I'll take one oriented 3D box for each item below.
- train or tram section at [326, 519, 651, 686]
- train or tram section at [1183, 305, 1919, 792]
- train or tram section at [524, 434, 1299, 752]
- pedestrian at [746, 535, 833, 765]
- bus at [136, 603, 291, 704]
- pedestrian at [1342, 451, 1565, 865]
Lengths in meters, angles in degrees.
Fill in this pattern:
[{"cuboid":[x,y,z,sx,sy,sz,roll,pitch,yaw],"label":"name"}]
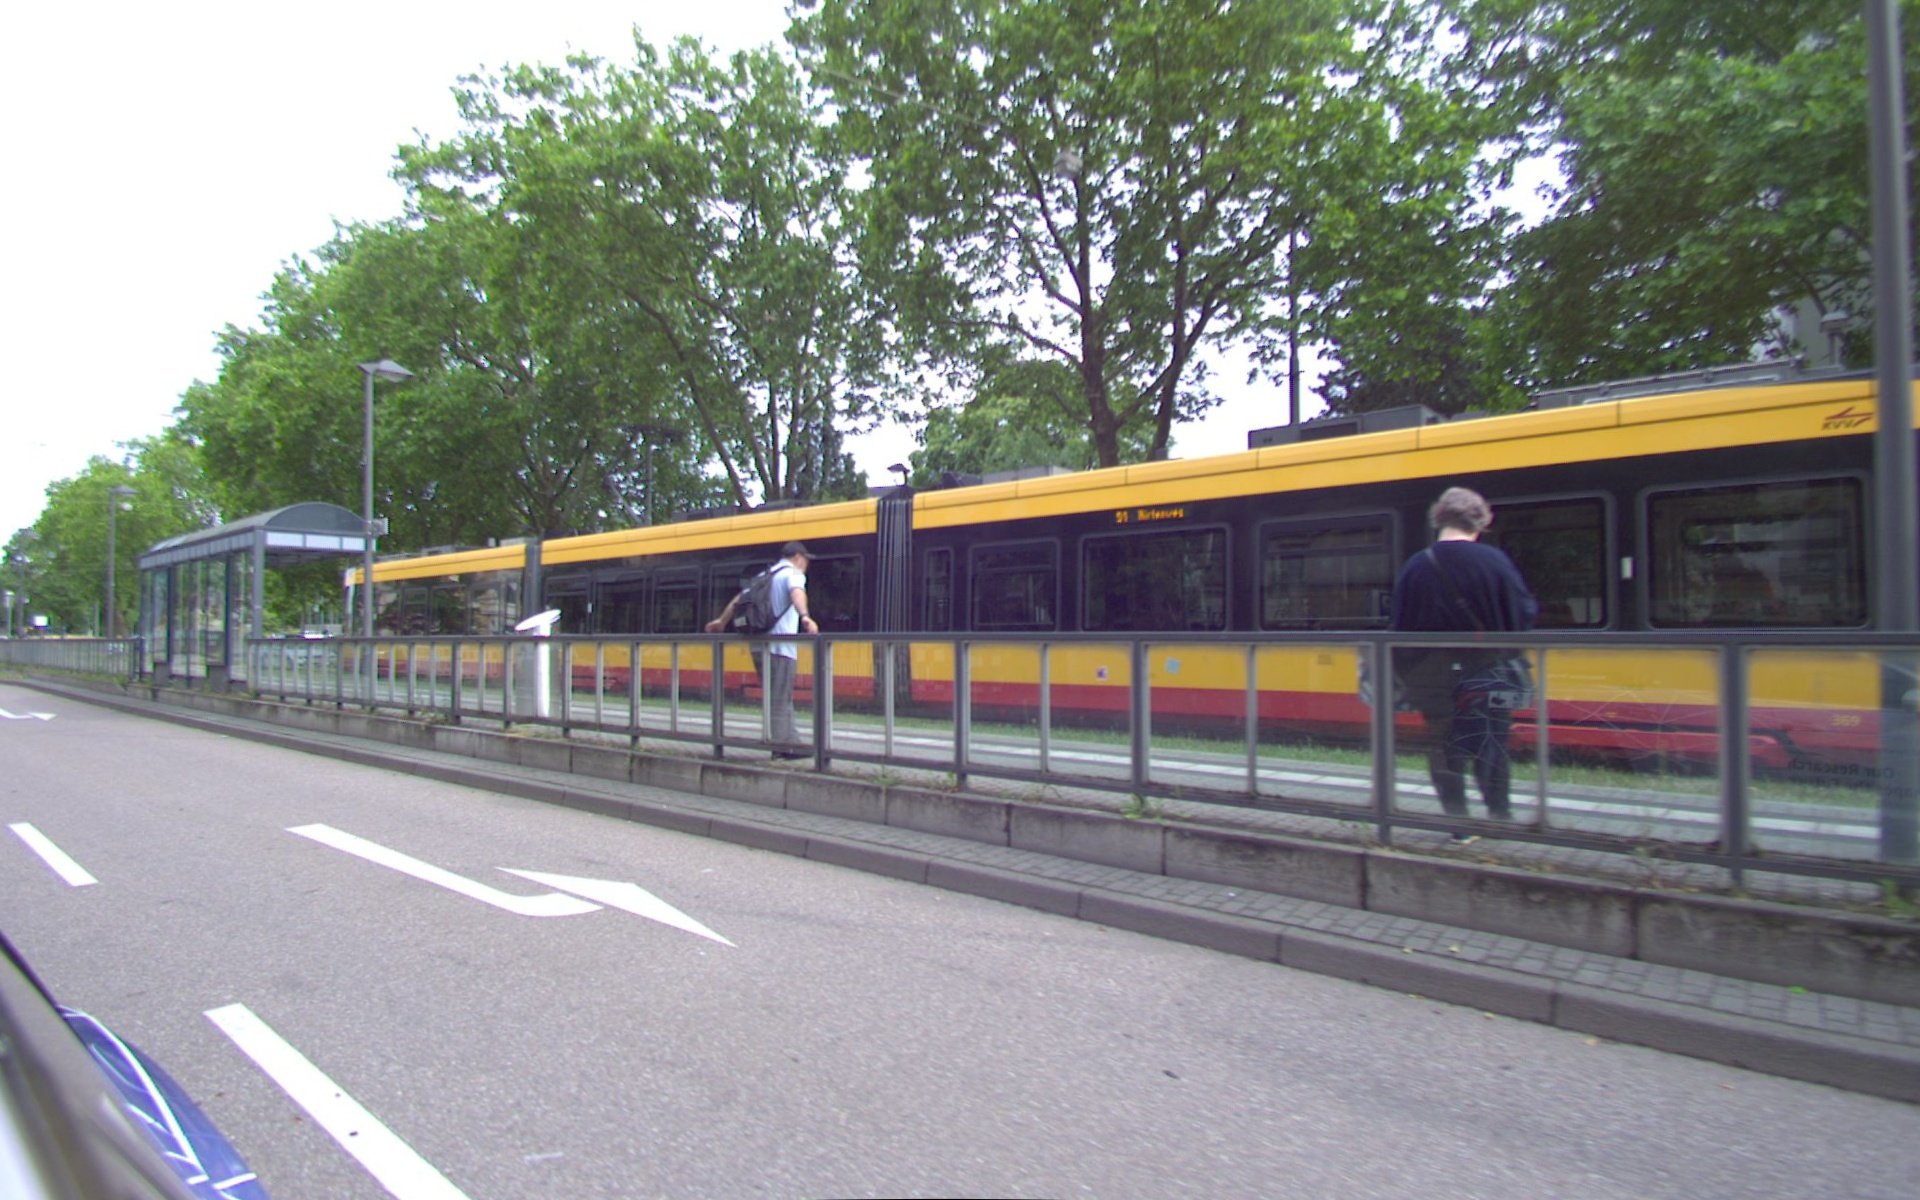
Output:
[{"cuboid":[-13.060,0.204,26.995,12.533,3.589,3.060,-2,-1,41],"label":"train or tram section"},{"cuboid":[9.271,-0.424,7.442,15.286,3.558,3.028,-2,-1,41],"label":"train or tram section"},{"cuboid":[-2.399,0.107,17.656,15.763,3.558,3.028,-2,-1,41],"label":"train or tram section"},{"cuboid":[-1.277,0.361,7.575,0.392,1.645,0.474,-2,-1,42],"label":"pedestrian"},{"cuboid":[-16.740,1.142,22.639,3.998,2.029,1.973,-2,-1,41],"label":"bus"},{"cuboid":[2.164,0.237,4.455,0.730,1.645,0.507,-2,-1,42],"label":"pedestrian"}]
